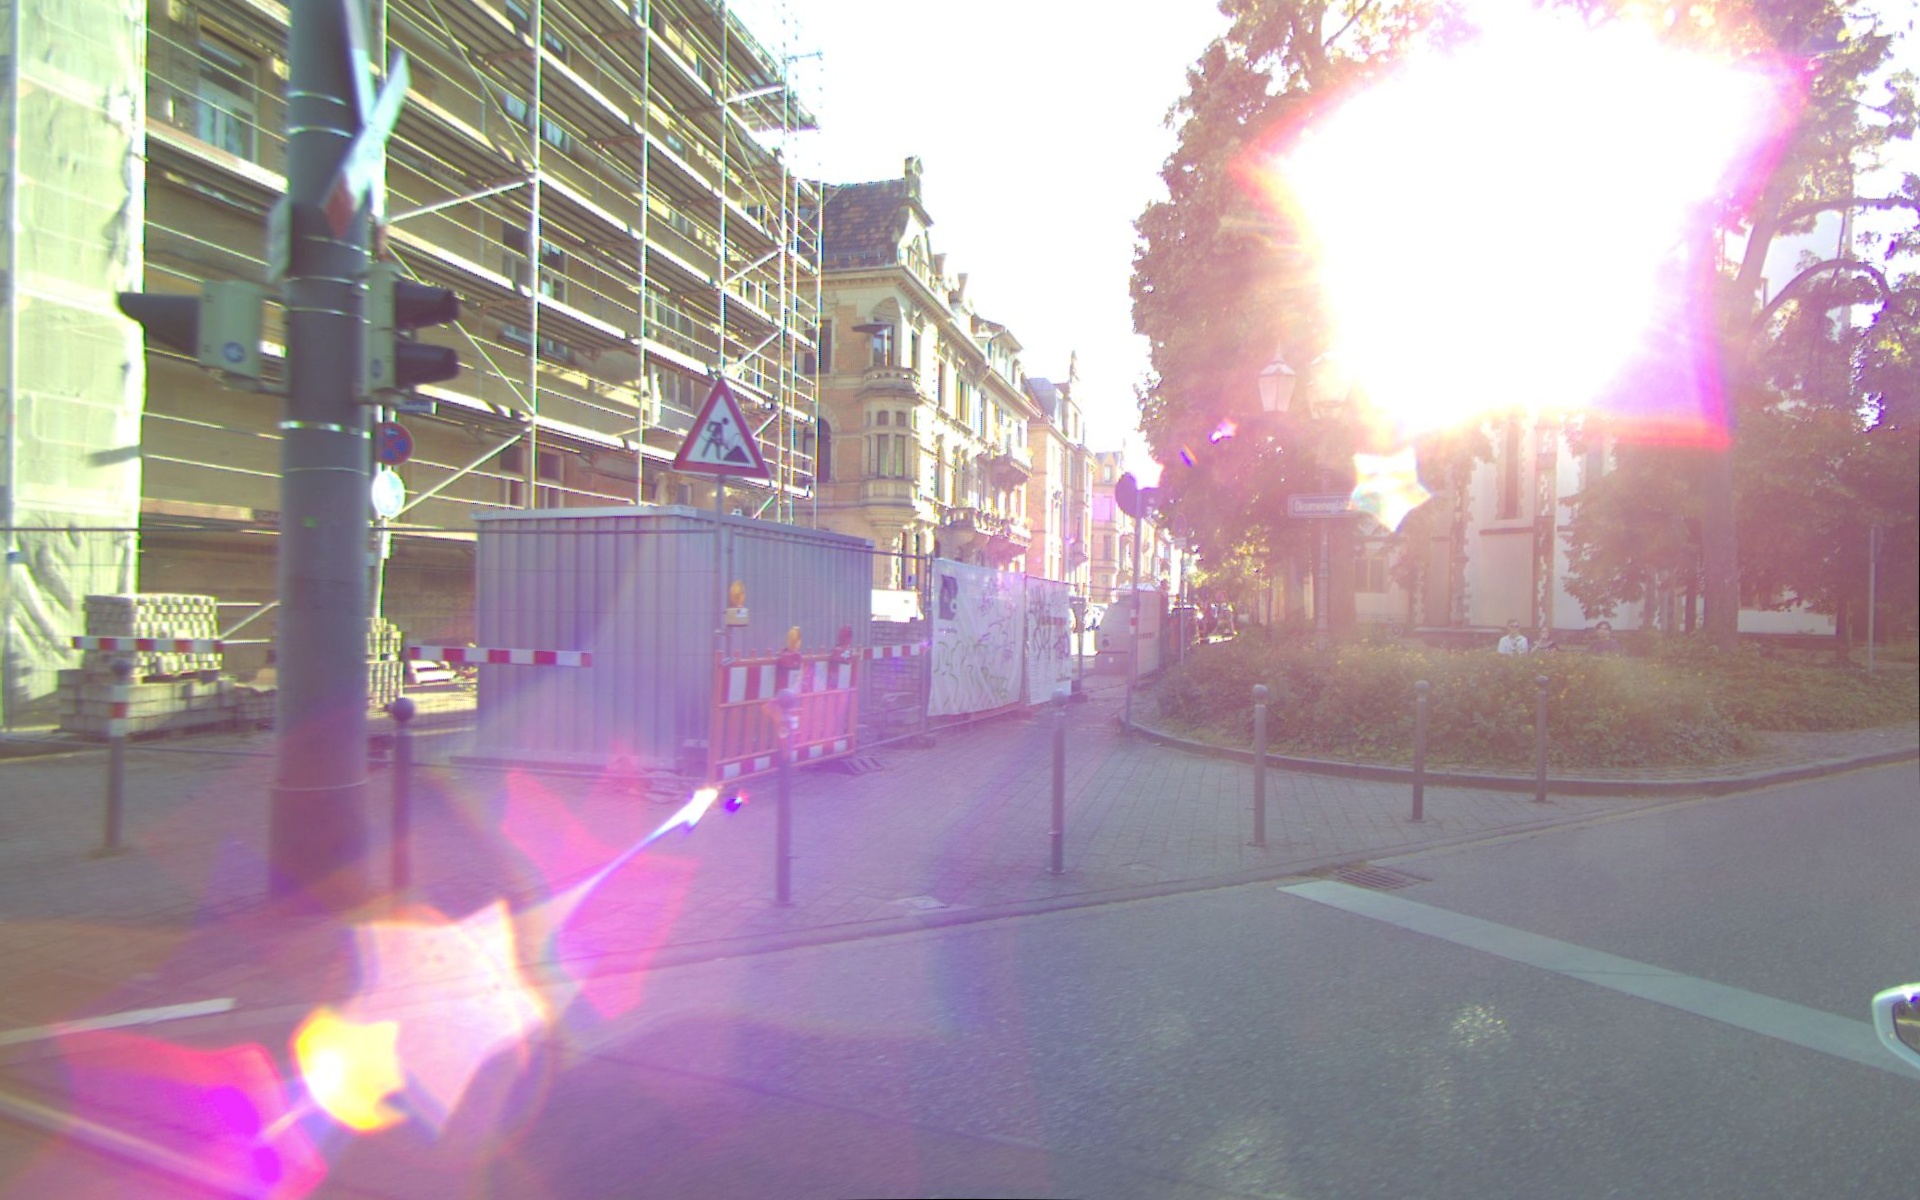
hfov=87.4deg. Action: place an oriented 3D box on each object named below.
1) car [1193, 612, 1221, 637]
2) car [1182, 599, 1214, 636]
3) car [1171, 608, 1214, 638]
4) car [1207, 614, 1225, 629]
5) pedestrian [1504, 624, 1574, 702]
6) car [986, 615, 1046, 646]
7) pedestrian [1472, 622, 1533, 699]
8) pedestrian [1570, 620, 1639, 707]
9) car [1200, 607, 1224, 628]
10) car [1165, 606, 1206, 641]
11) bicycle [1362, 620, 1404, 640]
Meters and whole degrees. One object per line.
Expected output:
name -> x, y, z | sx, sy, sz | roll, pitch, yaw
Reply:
car -> 17.494, 1.688, 71.126 | 1.853, 1.677, 4.222 | 1, -1, 15
car -> 15.456, 1.111, 65.144 | 1.853, 2.291, 4.222 | 1, -1, 15
car -> 13.746, 1.330, 59.269 | 1.855, 1.677, 4.219 | 1, -1, 21
car -> 26.811, 2.243, 105.152 | 1.853, 1.534, 4.222 | 1, -1, 15
pedestrian -> 9.308, 0.998, 16.163 | 0.871, 1.211, 0.550 | 1, 0, -22
car -> 2.633, 1.375, 46.133 | 1.874, 1.295, 4.222 | 1, 0, 15
pedestrian -> 8.996, 0.993, 16.665 | 0.714, 1.249, 0.550 | 1, 0, -22
pedestrian -> 10.000, 0.975, 15.594 | 0.754, 1.315, 0.550 | 1, 0, -22
car -> 20.243, 1.400, 80.617 | 1.853, 1.677, 4.222 | 1, -1, 15
car -> 11.591, 1.170, 51.474 | 1.853, 1.677, 4.222 | 1, -1, 15
bicycle -> 20.884, 1.474, 49.627 | 1.846, 0.930, 0.423 | 1, 0, 18
